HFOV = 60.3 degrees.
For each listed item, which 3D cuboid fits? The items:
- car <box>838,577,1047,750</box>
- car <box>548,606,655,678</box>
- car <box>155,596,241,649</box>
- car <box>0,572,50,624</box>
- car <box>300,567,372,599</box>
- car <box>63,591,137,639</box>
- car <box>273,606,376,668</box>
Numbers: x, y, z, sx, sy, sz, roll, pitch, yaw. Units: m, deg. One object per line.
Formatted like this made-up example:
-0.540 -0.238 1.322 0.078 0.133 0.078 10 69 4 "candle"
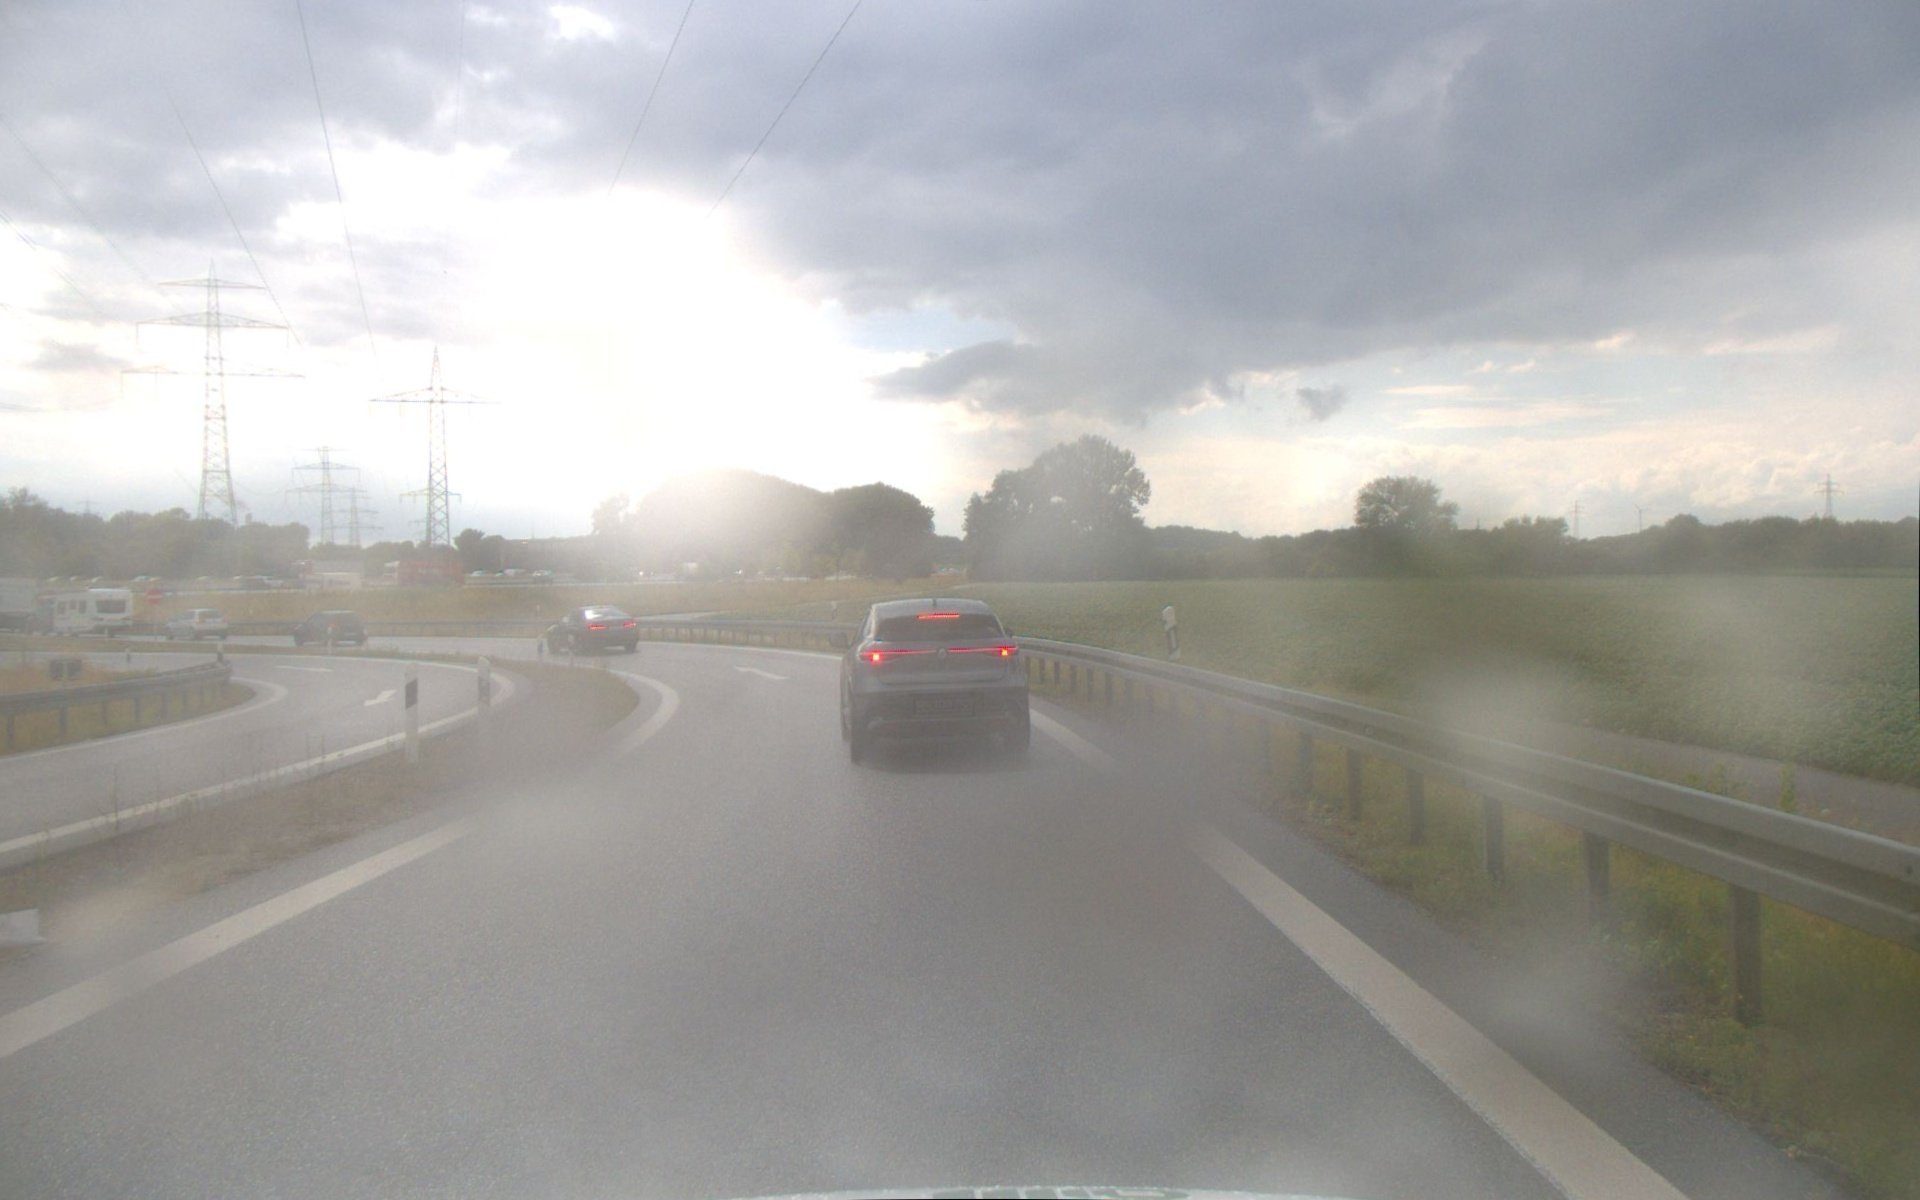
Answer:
-0.296 0.569 17.566 1.954 1.594 4.146 1 1 -4 "car"
-12.150 1.351 55.705 2.097 2.053 5.483 -2 2 -28 "car"
-38.634 1.108 83.850 2.342 2.346 5.044 -3 4 -45 "car"
-60.881 -0.180 107.113 3.105 3.002 7.134 -2 3 -31 "car"
-72.659 -2.007 192.690 3.311 3.673 9.053 -1 1 13 "car"
-47.250 0.760 90.788 2.340 2.346 5.048 -3 4 -43 "car"
-27.887 1.568 72.511 2.342 2.346 5.044 -3 4 -45 "car"
